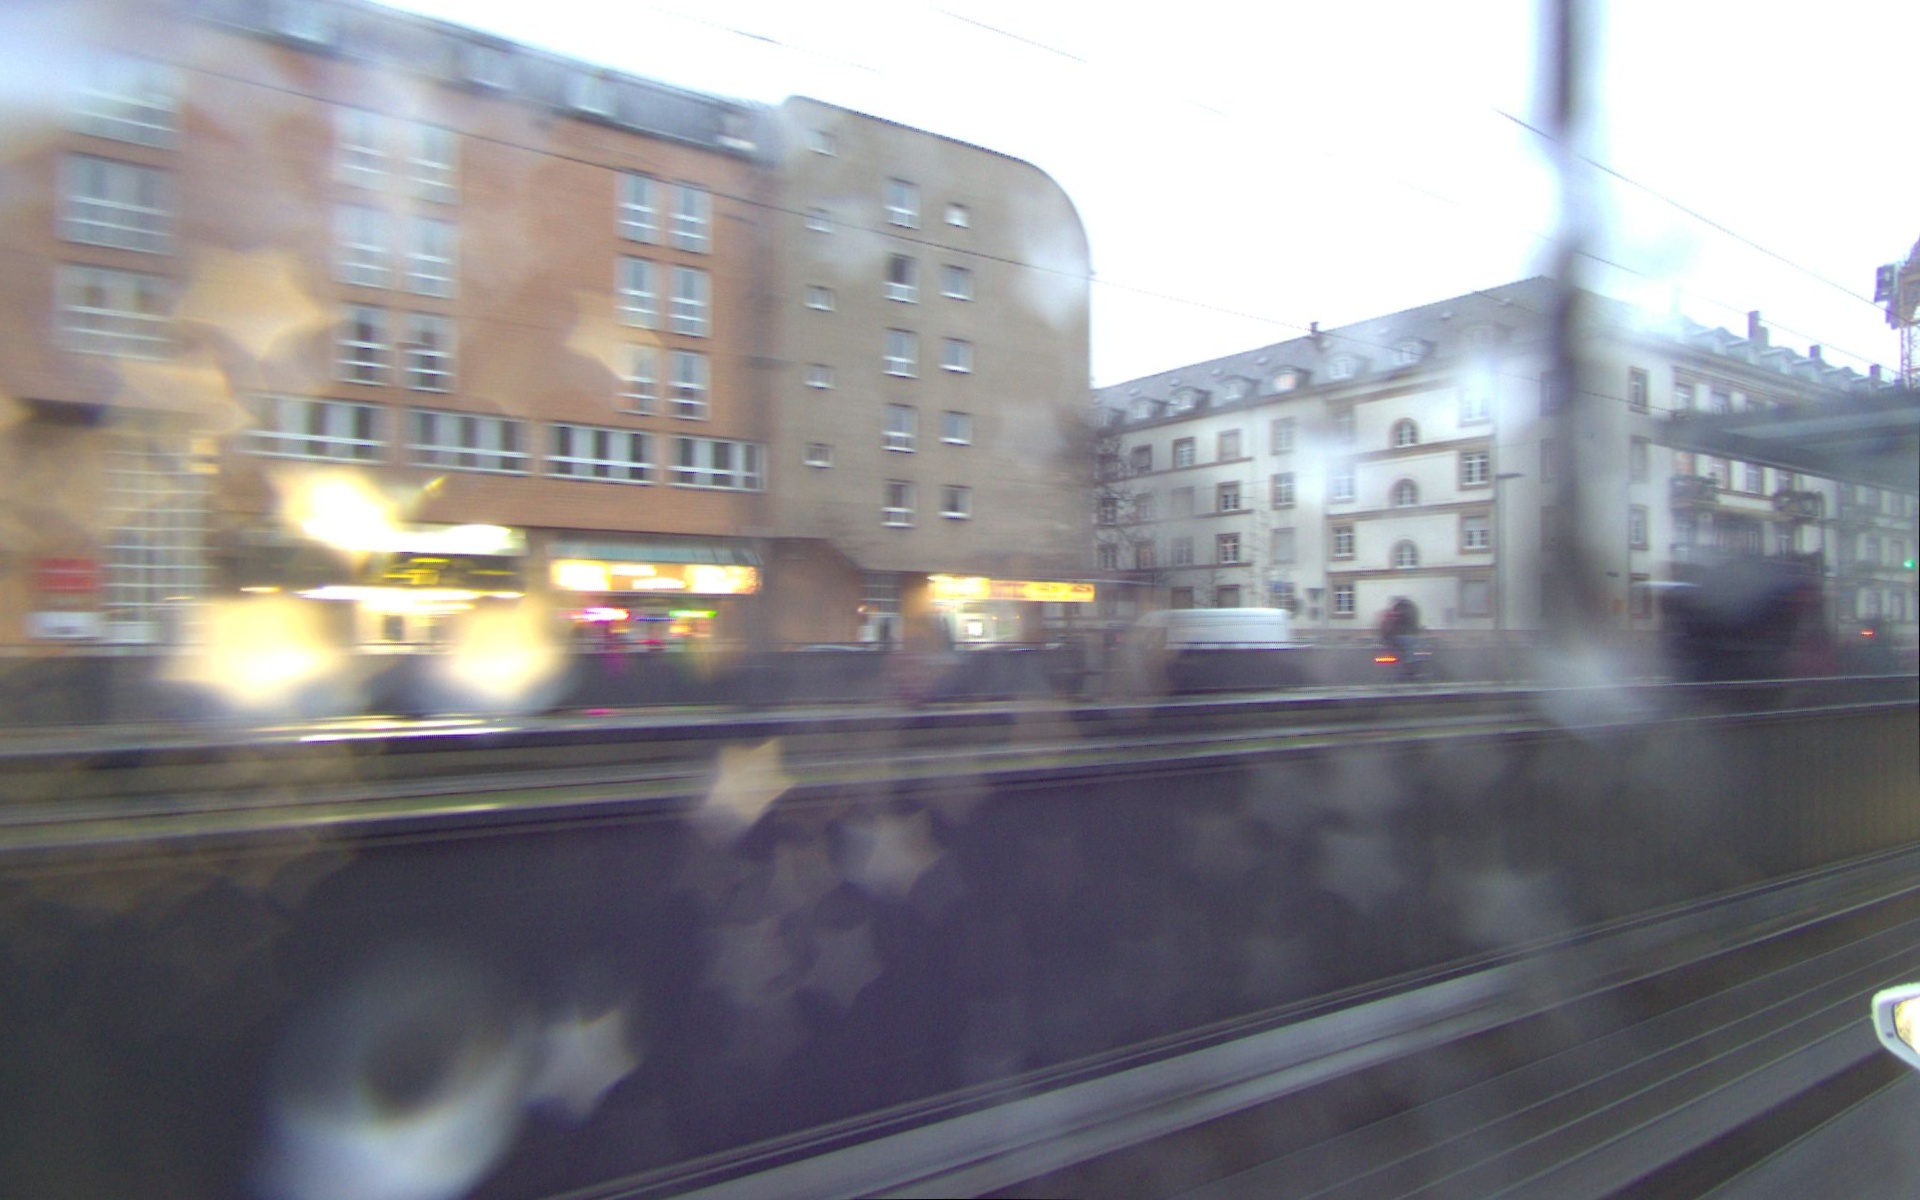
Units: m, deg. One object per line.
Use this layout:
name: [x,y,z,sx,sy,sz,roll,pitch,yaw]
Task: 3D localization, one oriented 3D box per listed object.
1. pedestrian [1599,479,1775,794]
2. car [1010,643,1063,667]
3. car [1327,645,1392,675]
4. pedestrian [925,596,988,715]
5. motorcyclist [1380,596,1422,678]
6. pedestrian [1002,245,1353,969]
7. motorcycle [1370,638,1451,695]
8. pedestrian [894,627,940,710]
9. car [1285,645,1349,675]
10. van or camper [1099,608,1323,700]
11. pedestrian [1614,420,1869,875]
pedestrian: [5.319,0.260,7.367,0.796,2.138,0.805,1,-1,-33]
car: [4.973,3.572,65.514,3.283,1.444,1.445,1,-2,-35]
car: [19.895,2.958,50.001,3.283,1.444,1.445,1,-2,-35]
pedestrian: [-0.040,0.723,13.528,0.624,1.544,0.756,1,0,18]
motorcyclist: [8.225,0.681,18.740,0.551,1.516,0.495,1,0,-35]
pedestrian: [0.686,0.027,3.289,0.795,1.973,0.806,1,-1,-29]
motorcycle: [8.496,1.228,18.913,1.788,1.021,0.509,1,0,-34]
pedestrian: [-0.602,0.944,14.008,0.597,1.117,0.591,1,0,-5]
car: [18.323,3.042,51.523,3.283,1.444,1.445,1,-2,-35]
van or camper: [8.119,1.693,32.567,6.653,2.718,2.769,1,0,-21]
pedestrian: [4.084,0.233,5.279,0.795,2.138,0.806,1,-1,-29]
